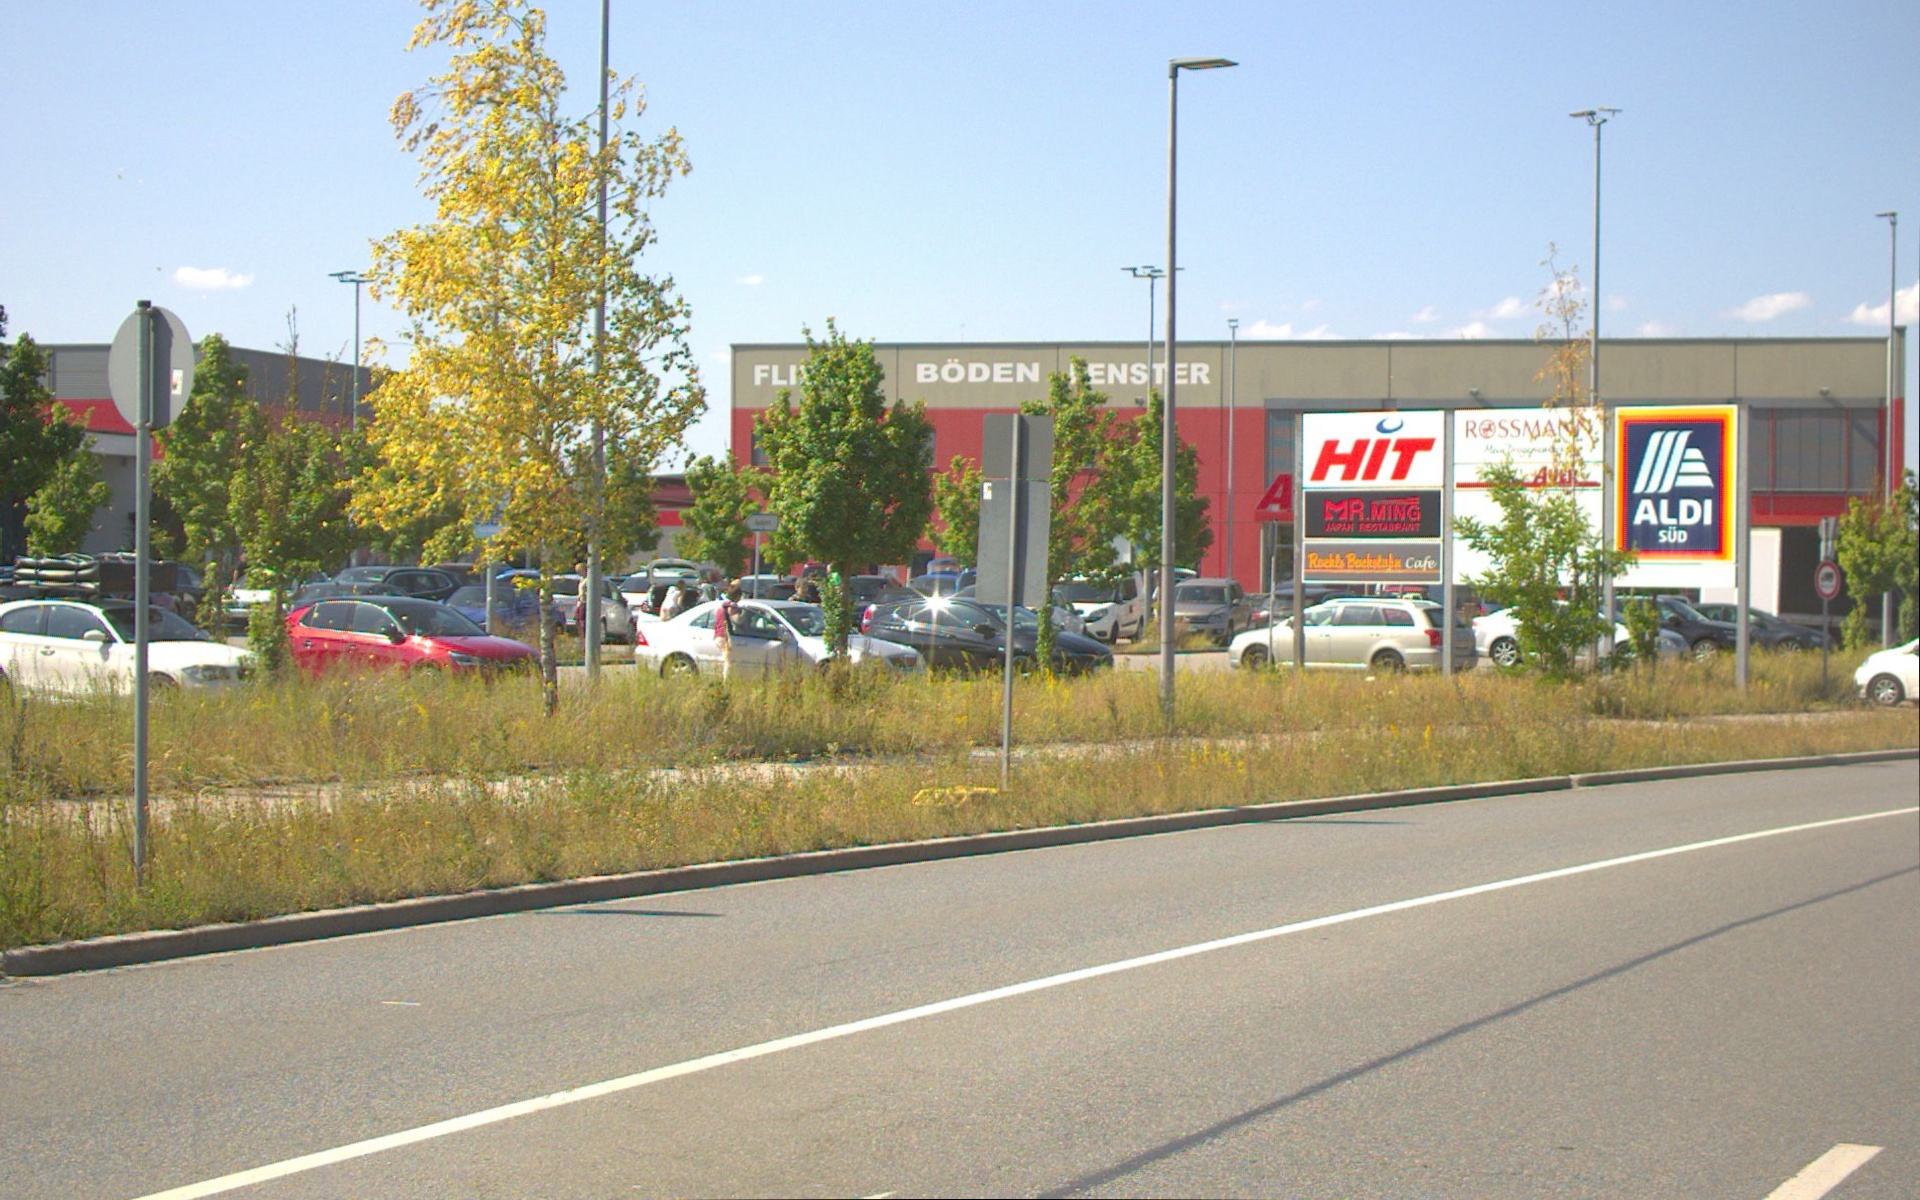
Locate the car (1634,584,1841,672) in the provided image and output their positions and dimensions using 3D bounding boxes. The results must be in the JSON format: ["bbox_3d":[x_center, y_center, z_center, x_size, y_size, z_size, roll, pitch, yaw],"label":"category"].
[{"bbox_3d":[18.494,0.652,81.779,4.476,2.031,1.997,0,0,26],"label":"car"}]

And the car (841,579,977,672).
[{"bbox_3d":[-1.114,0.566,77.911,1.995,2.031,4.481,0,0,14],"label":"car"}]

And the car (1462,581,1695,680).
[{"bbox_3d":[13.069,0.623,72.679,4.476,2.031,1.997,0,0,26],"label":"car"}]

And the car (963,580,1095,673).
[{"bbox_3d":[1.592,0.577,77.126,1.995,2.031,4.481,0,0,14],"label":"car"}]

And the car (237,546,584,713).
[{"bbox_3d":[-7.007,0.348,43.718,4.133,2.007,1.879,1,0,33],"label":"car"}]

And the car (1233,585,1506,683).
[{"bbox_3d":[7.374,0.590,62.003,4.478,1.709,1.996,0,0,33],"label":"car"}]

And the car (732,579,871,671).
[{"bbox_3d":[-3.604,0.556,79.025,1.995,2.031,4.481,0,0,14],"label":"car"}]

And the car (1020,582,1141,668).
[{"bbox_3d":[2.945,0.587,83.035,1.995,2.031,4.481,0,0,14],"label":"car"}]

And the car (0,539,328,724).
[{"bbox_3d":[-9.620,0.329,39.574,4.403,2.007,1.941,1,0,31],"label":"car"}]

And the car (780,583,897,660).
[{"bbox_3d":[-3.251,0.567,92.993,1.995,2.031,4.481,0,0,14],"label":"car"}]

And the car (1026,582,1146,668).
[{"bbox_3d":[3.075,0.588,83.017,1.995,2.031,4.481,0,0,14],"label":"car"}]

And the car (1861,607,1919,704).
[{"bbox_3d":[16.613,0.890,55.250,3.778,1.546,1.738,0,0,34],"label":"car"}]

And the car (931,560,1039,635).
[{"bbox_3d":[0.733,-0.069,95.507,1.995,2.031,4.481,0,0,14],"label":"car"}]

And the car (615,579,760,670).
[{"bbox_3d":[-6.238,0.545,79.286,1.995,2.031,4.481,0,0,14],"label":"car"}]

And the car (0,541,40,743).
[{"bbox_3d":[-12.050,0.381,35.129,5.108,2.007,2.161,1,0,31],"label":"car"}]

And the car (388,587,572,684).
[{"bbox_3d":[-9.106,0.650,65.571,1.995,1.778,4.312,0,0,14],"label":"car"}]

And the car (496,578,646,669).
[{"bbox_3d":[-8.987,0.534,79.768,1.995,2.031,4.481,0,0,14],"label":"car"}]

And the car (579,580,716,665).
[{"bbox_3d":[-7.700,0.543,85.206,1.995,2.031,4.481,0,0,14],"label":"car"}]

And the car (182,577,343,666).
[{"bbox_3d":[-16.429,0.503,81.211,1.995,2.031,4.481,0,0,14],"label":"car"}]

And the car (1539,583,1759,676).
[{"bbox_3d":[15.454,0.636,77.082,4.476,2.031,1.997,0,0,26],"label":"car"}]

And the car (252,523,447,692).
[{"bbox_3d":[-10.500,0.123,59.478,1.994,2.812,4.483,0,0,8],"label":"car"}]
